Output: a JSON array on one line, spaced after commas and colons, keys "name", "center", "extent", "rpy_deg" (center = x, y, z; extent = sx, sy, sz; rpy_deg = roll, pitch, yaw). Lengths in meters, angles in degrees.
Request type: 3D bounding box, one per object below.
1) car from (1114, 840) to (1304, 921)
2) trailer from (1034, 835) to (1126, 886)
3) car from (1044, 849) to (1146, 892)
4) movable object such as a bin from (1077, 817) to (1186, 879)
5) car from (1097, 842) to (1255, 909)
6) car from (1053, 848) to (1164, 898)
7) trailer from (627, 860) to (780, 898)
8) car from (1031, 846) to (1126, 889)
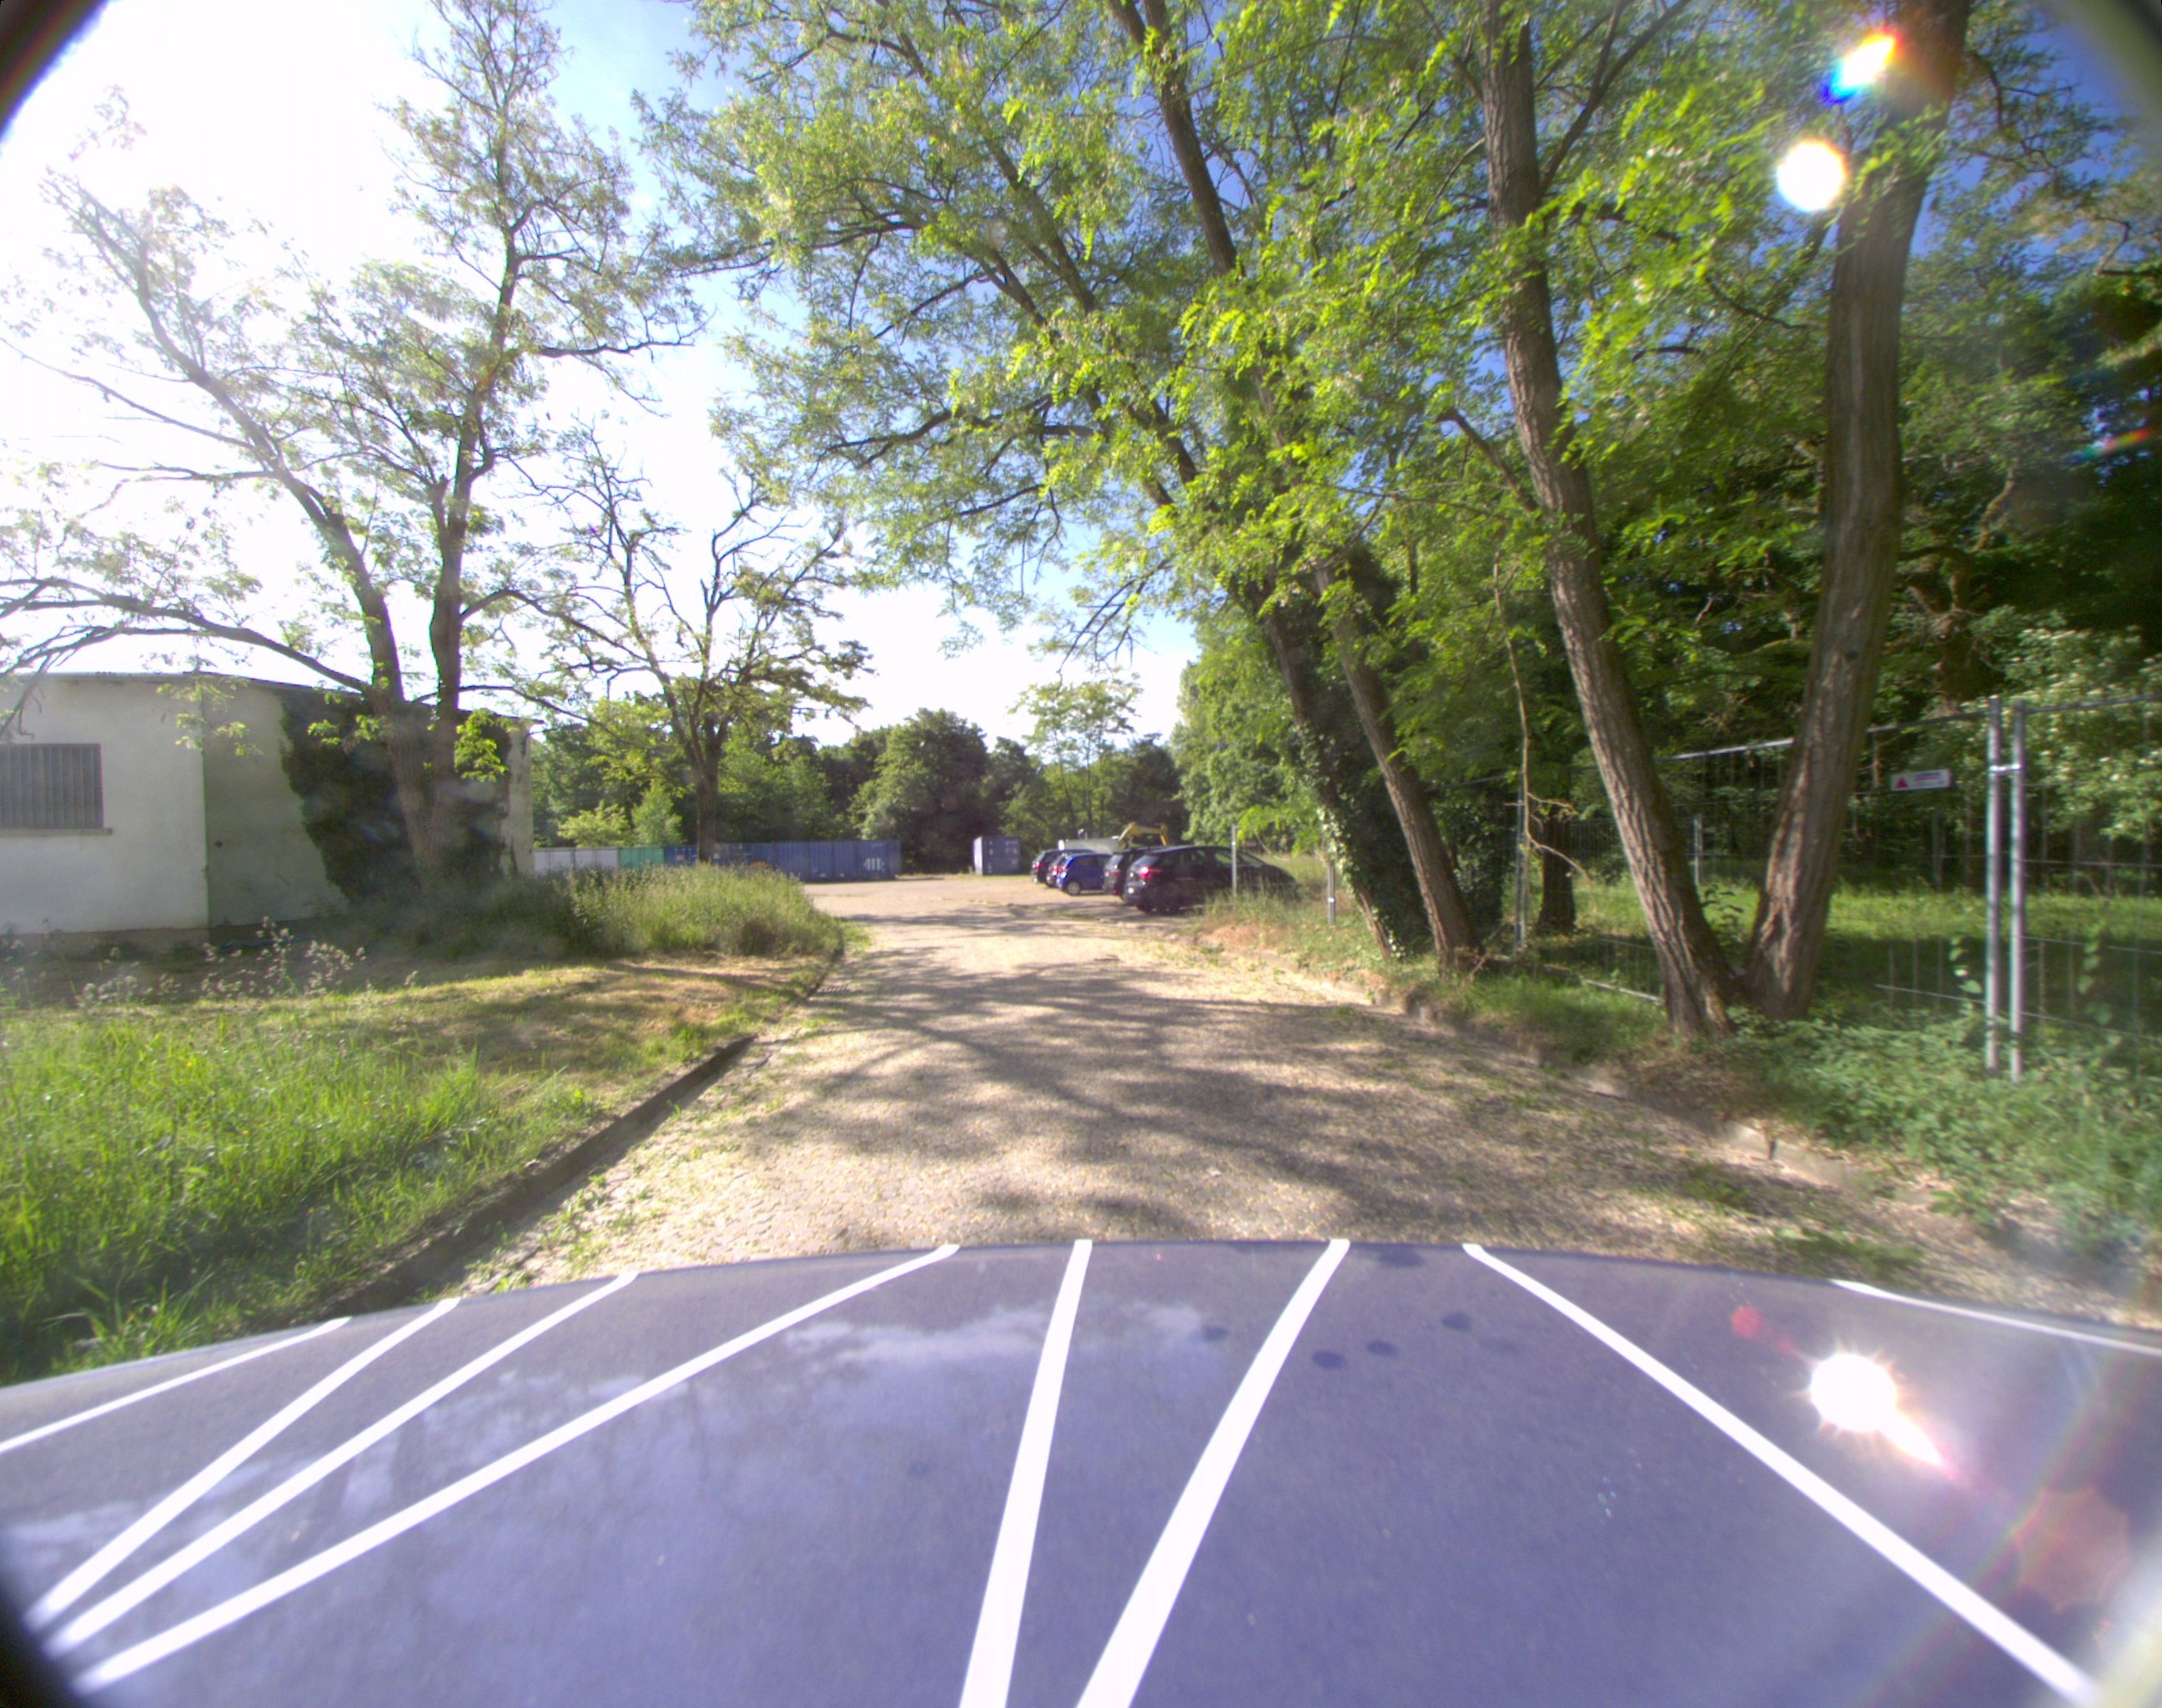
[{"name": "car", "center": [3.208, 0.614, 19.225], "extent": [4.302, 1.643, 1.791], "rpy_deg": [-4, 1, -15]}, {"name": "trailer", "center": [-0.071, 0.275, 35.444], "extent": [3.973, 2.082, 1.638], "rpy_deg": [-3, 1, -9]}, {"name": "car", "center": [0.518, 0.626, 30.117], "extent": [3.663, 1.443, 1.832], "rpy_deg": [-3, 1, -10]}, {"name": "movable object such as a bin", "center": [2.500, -0.307, 38.501], "extent": [5.163, 2.949, 1.999], "rpy_deg": [-2, 1, -6]}, {"name": "car", "center": [2.743, 0.600, 22.360], "extent": [4.191, 1.646, 1.816], "rpy_deg": [-3, 1, -11]}, {"name": "car", "center": [0.951, 0.657, 27.501], "extent": [3.663, 1.484, 1.713], "rpy_deg": [-4, 1, -8]}, {"name": "trailer", "center": [-19.304, 1.237, 39.266], "extent": [6.493, 1.509, 2.852], "rpy_deg": [-2, 2, -10]}, {"name": "car", "center": [-0.146, 0.554, 32.472], "extent": [3.820, 1.631, 1.866], "rpy_deg": [-2, 1, -8]}]
